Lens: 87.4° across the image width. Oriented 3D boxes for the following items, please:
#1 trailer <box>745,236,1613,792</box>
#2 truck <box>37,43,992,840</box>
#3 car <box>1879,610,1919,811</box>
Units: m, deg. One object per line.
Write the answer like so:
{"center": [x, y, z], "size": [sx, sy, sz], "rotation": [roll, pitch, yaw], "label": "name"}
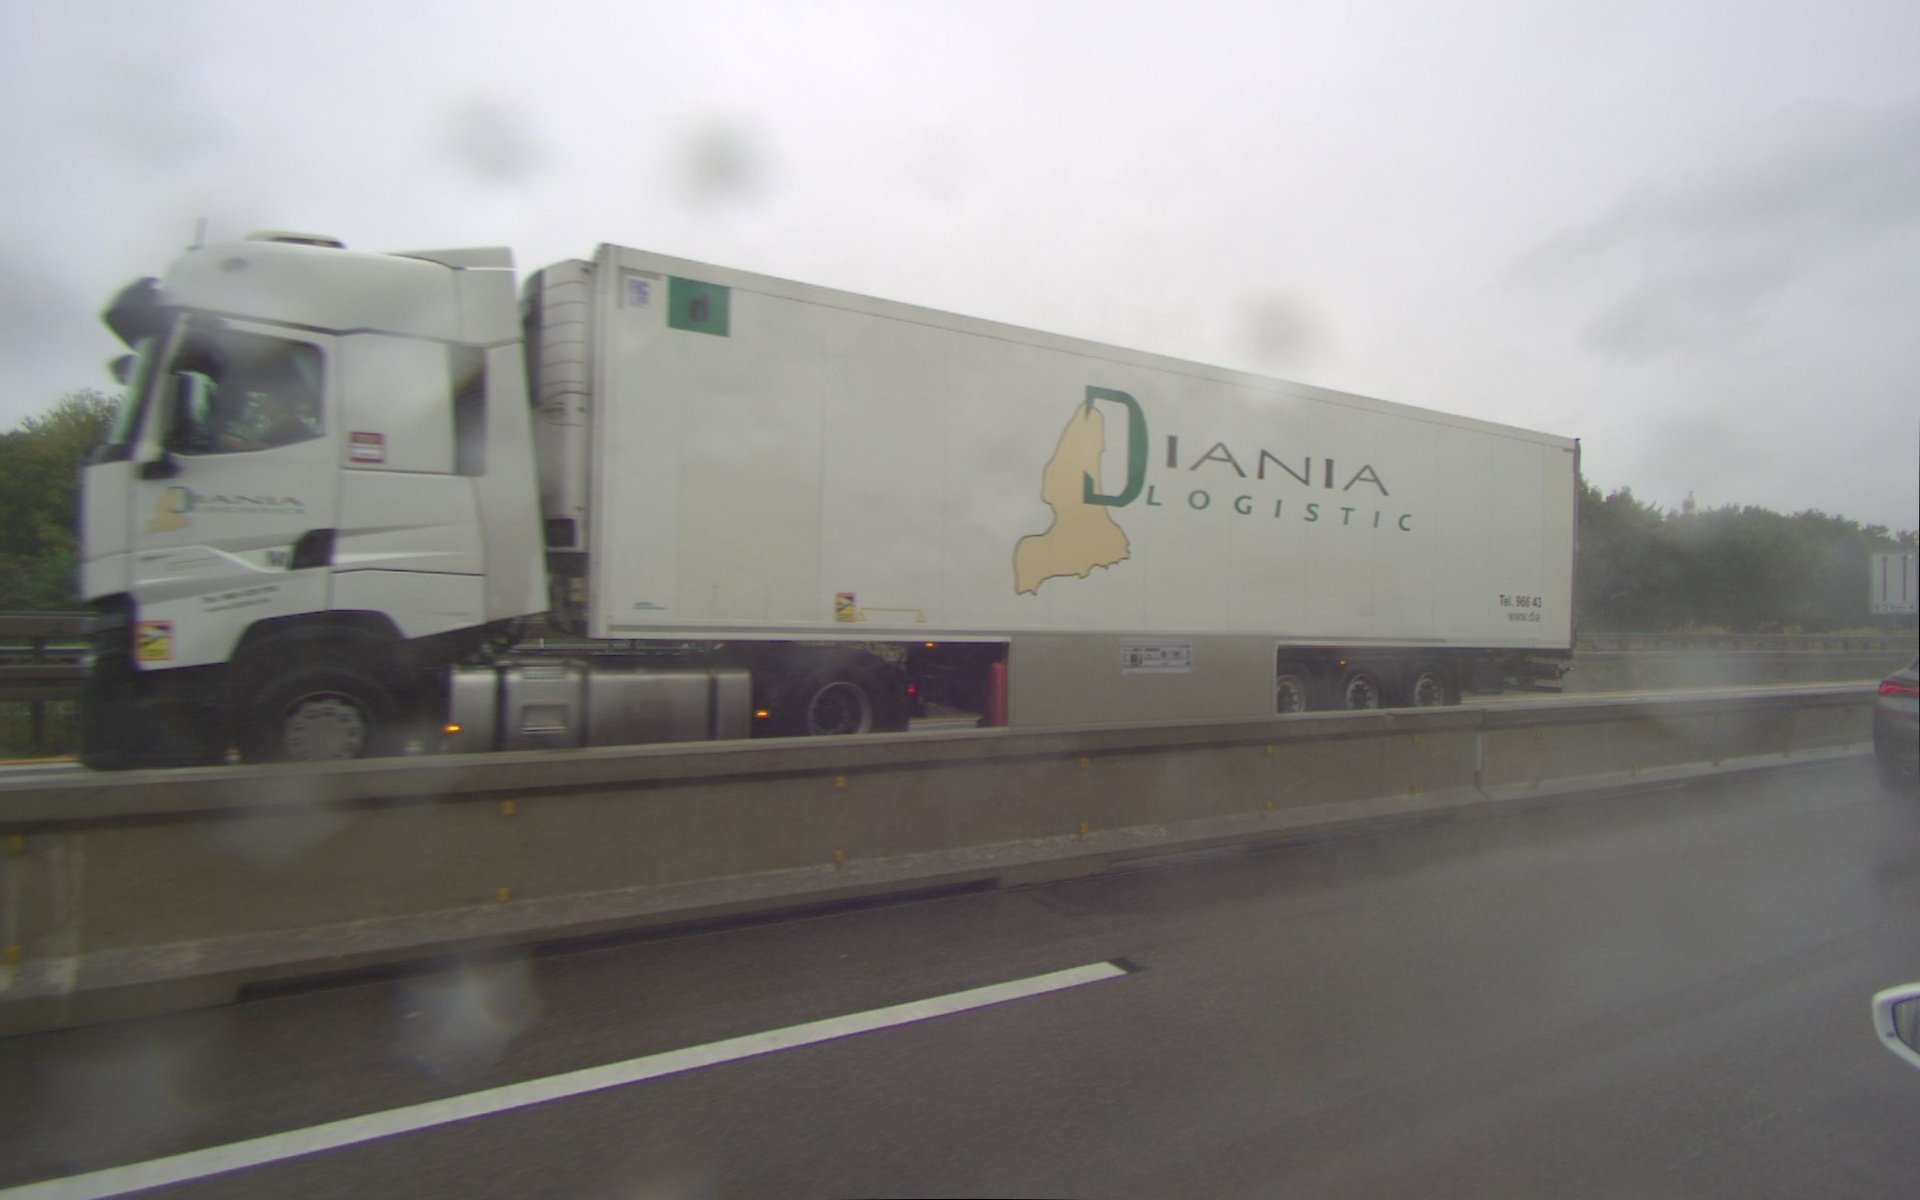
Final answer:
{"center": [3.548, -0.504, 12.505], "size": [11.870, 4.650, 2.535], "rotation": [3, 0, -30], "label": "trailer"}
{"center": [-3.165, -0.818, 8.585], "size": [6.376, 4.664, 2.548], "rotation": [2, 0, -30], "label": "truck"}
{"center": [10.111, 0.997, 8.875], "size": [4.791, 1.619, 1.691], "rotation": [3, 0, -32], "label": "car"}
